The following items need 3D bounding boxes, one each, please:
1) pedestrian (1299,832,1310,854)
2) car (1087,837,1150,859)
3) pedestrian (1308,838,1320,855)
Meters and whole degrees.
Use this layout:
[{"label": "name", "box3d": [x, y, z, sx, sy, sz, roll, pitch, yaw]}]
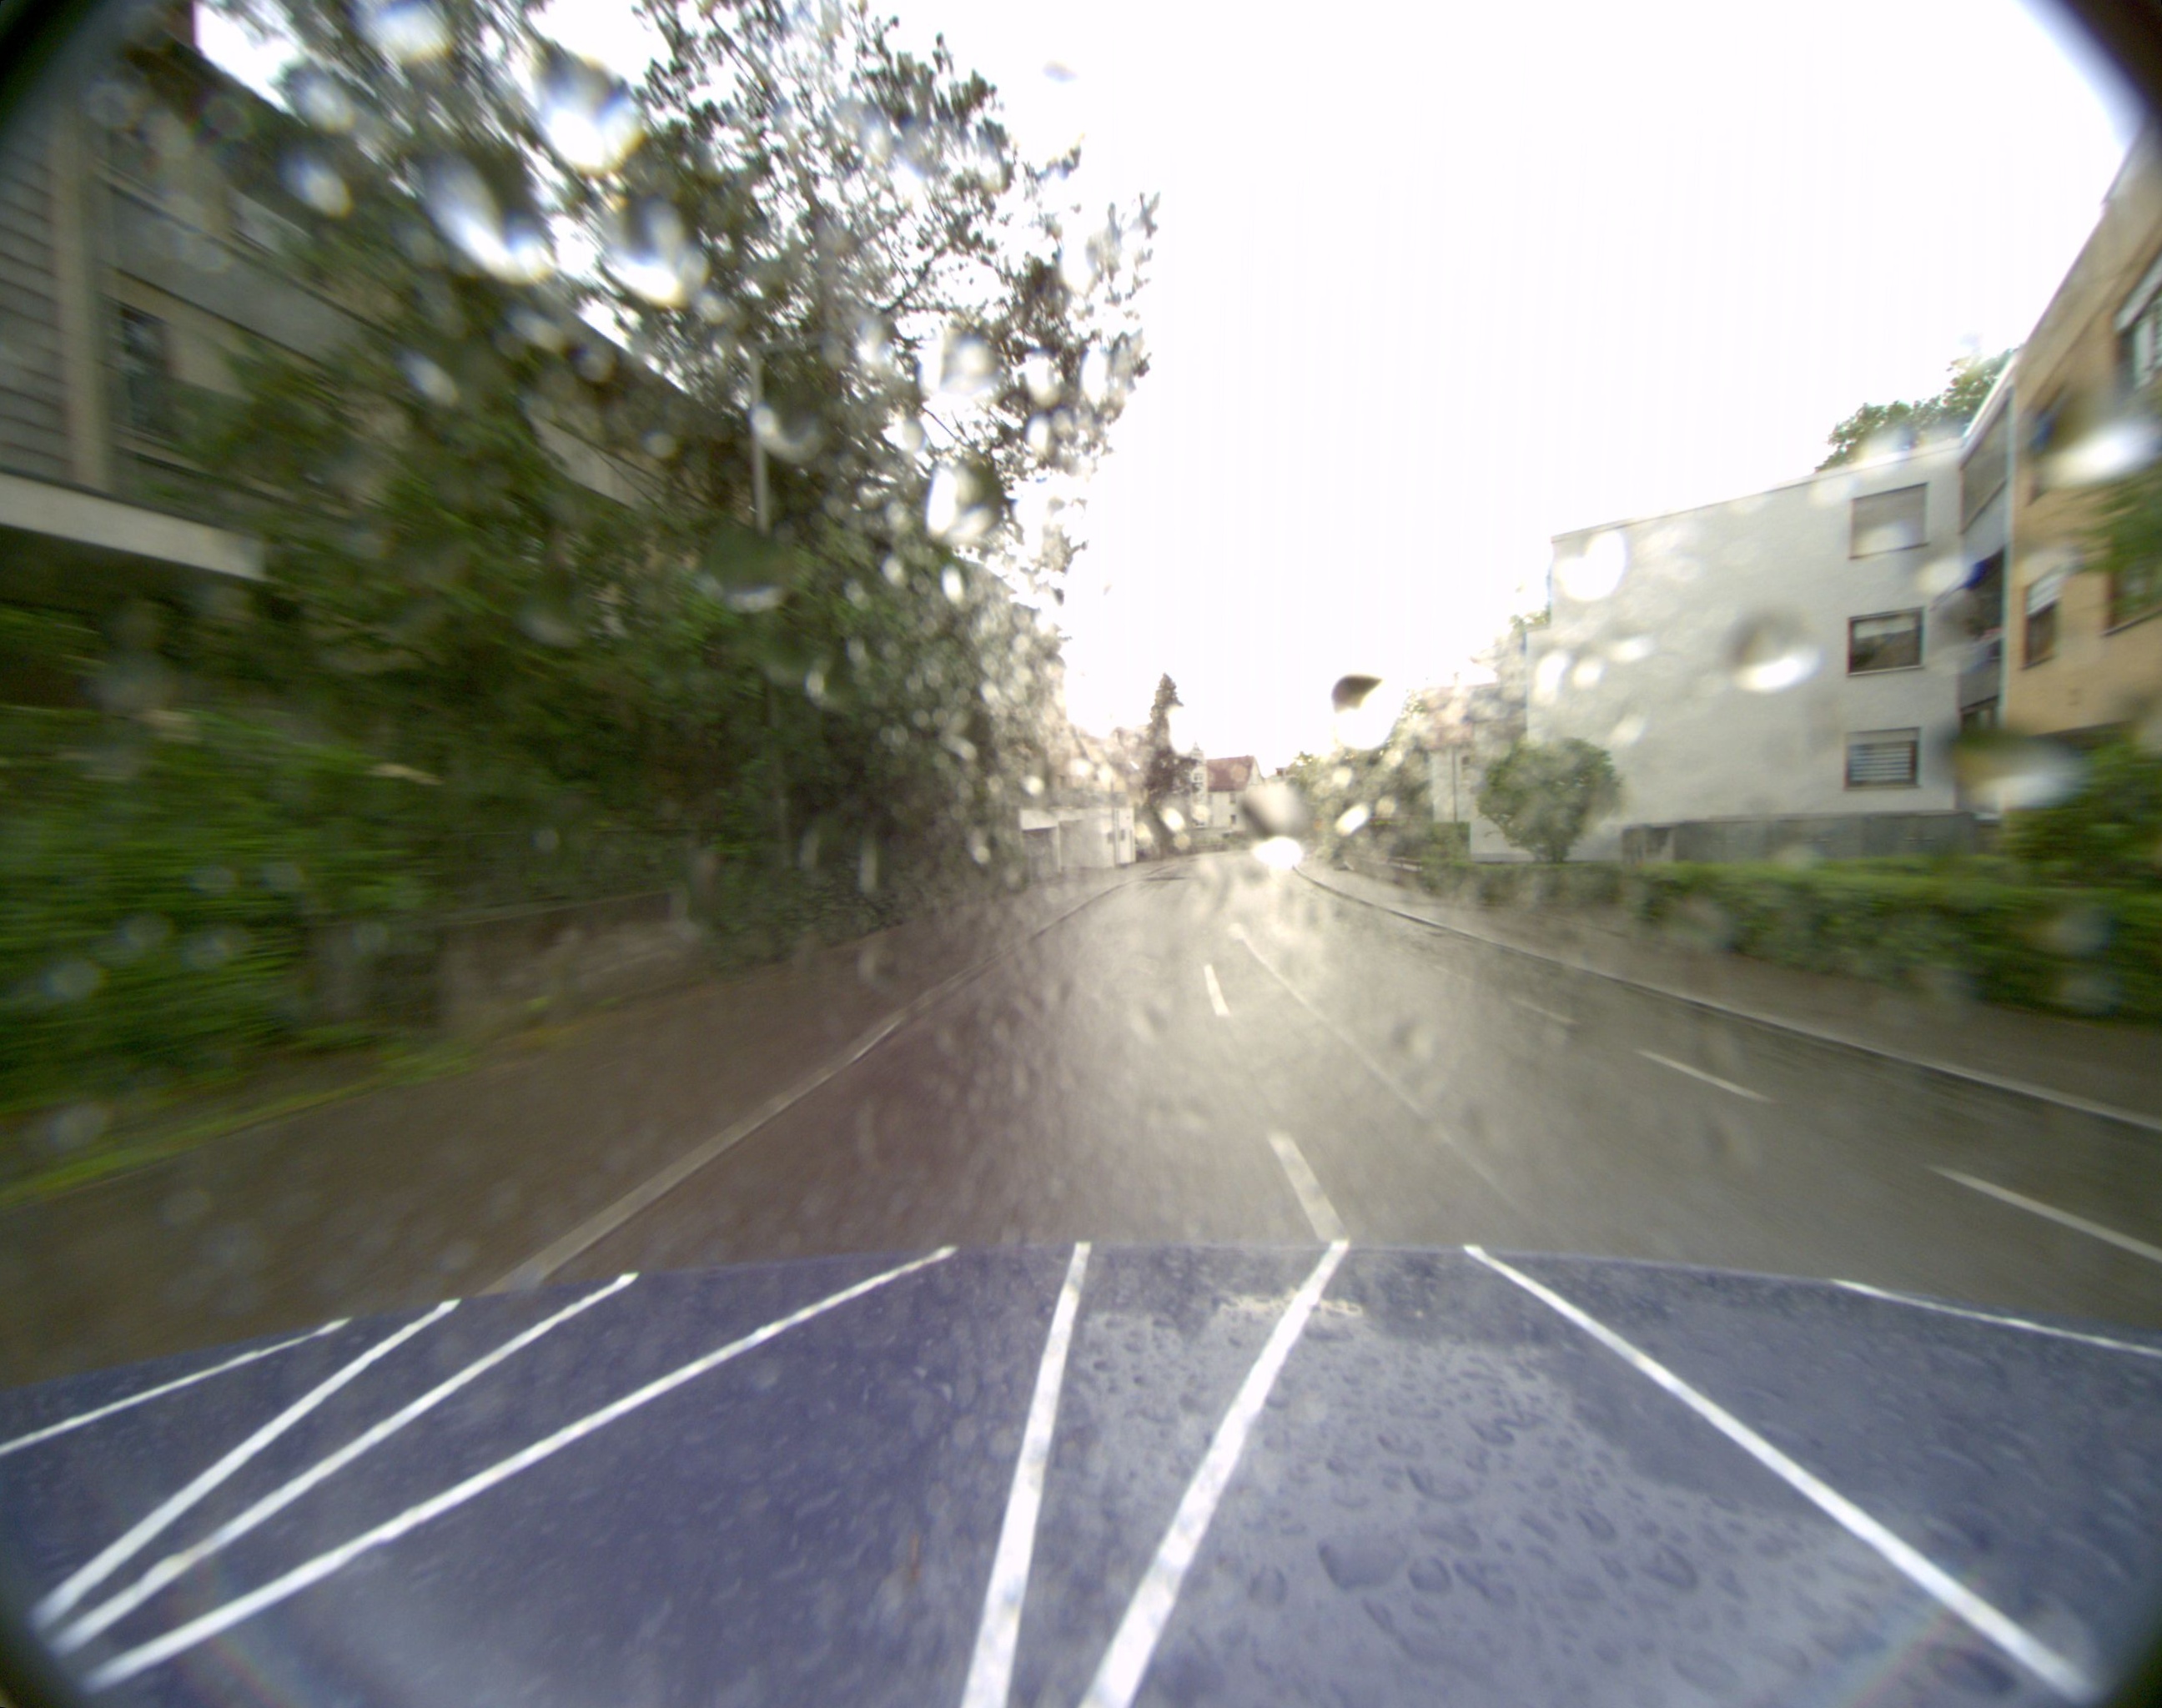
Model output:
[{"label": "pedestrian", "box3d": [16.222, -0.805, 55.195, 0.757, 1.635, 1.040, -1, 2, 17]}, {"label": "car", "box3d": [2.643, -0.412, 53.612, 3.989, 1.449, 2.003, 0, 2, 27]}, {"label": "pedestrian", "box3d": [16.626, -0.568, 54.173, 0.757, 1.173, 1.040, -1, 2, 17]}]
